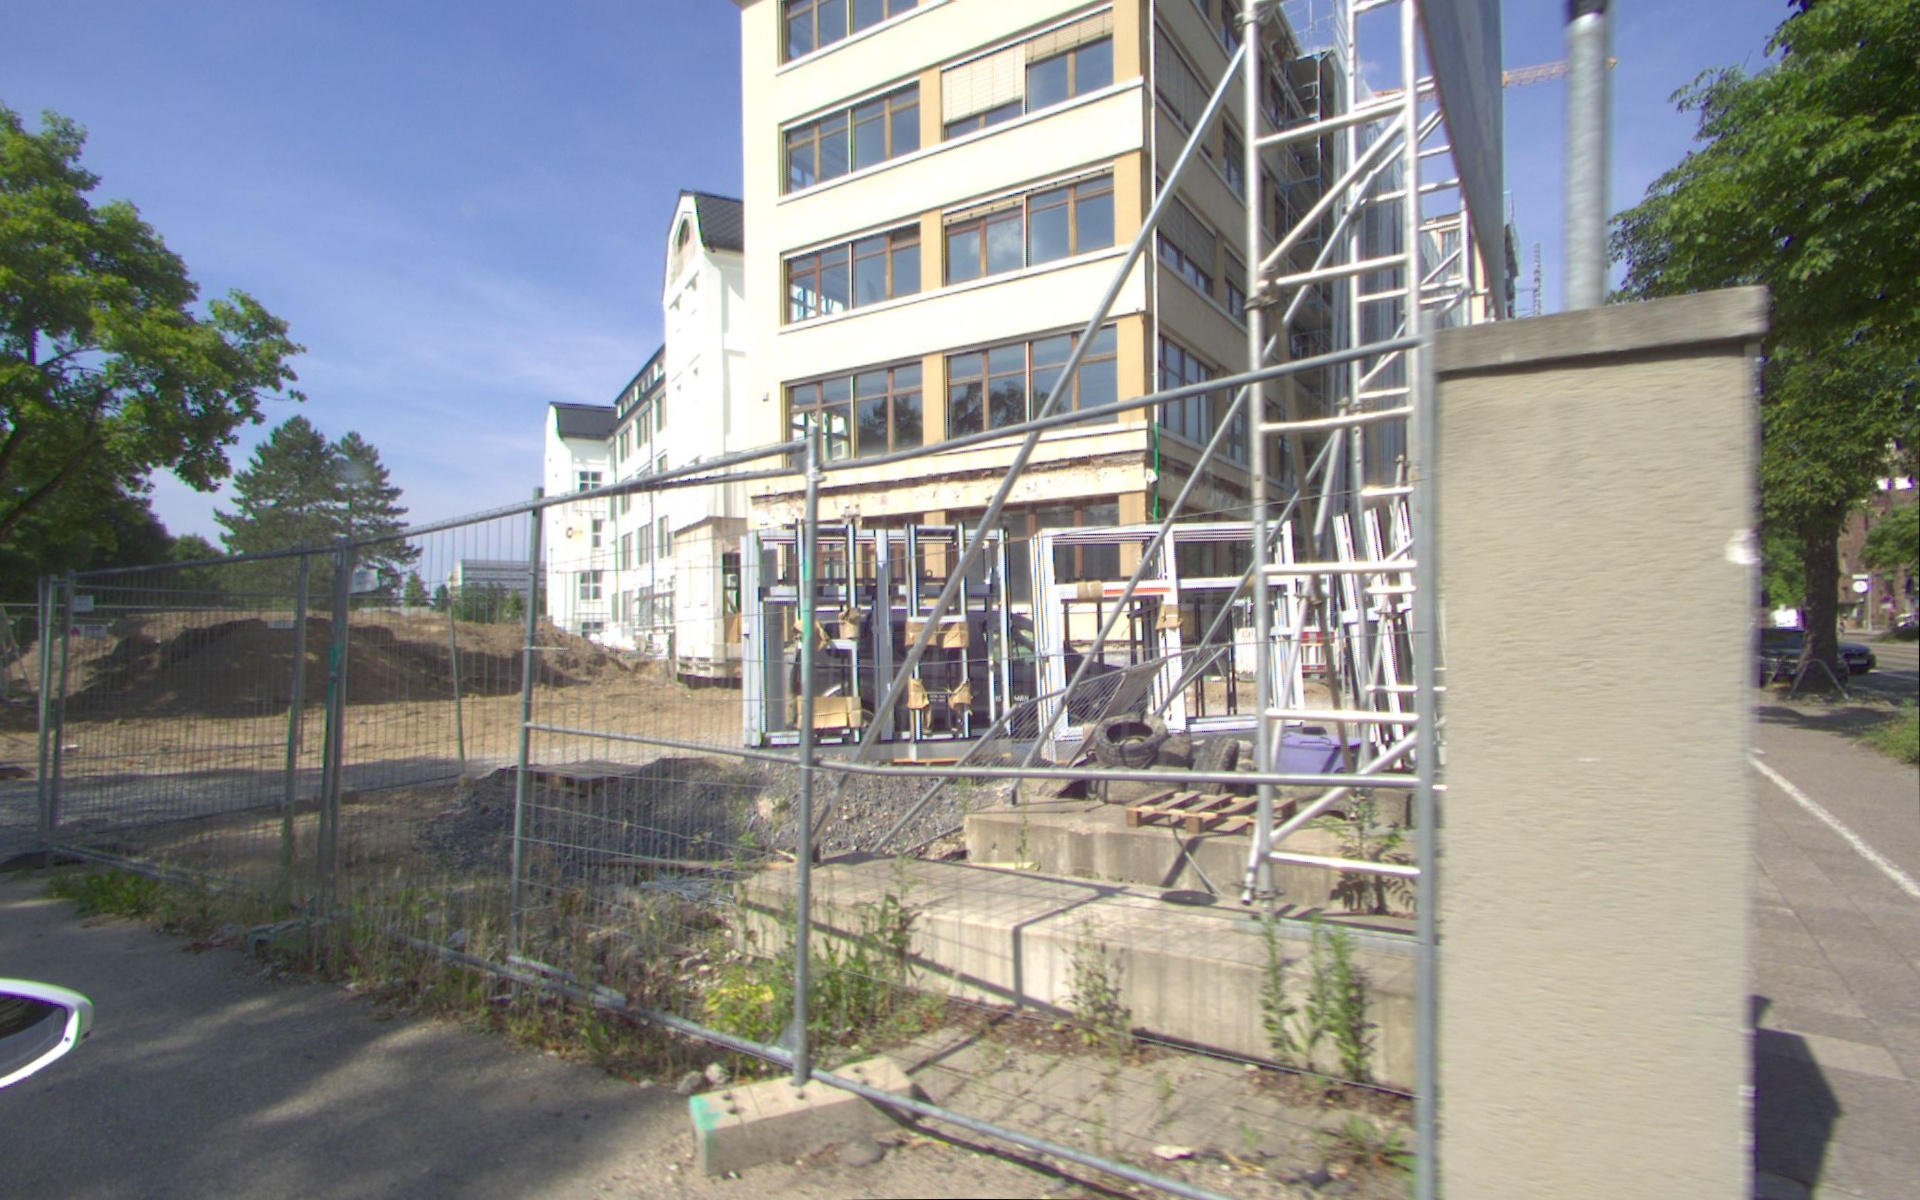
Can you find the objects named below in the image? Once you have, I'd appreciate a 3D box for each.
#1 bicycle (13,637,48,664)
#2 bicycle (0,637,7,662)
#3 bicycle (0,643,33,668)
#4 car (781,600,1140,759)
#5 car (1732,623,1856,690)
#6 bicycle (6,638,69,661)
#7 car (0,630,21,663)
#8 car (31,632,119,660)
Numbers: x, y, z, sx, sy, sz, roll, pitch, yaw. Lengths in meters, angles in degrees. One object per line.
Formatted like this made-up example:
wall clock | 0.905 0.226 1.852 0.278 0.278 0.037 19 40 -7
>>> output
bicycle | -47.174 2.529 50.828 0.706 1.300 2.671 0 -2 -30
bicycle | -48.663 2.494 50.131 0.706 1.300 2.777 0 -2 -30
bicycle | -51.084 2.977 54.151 0.807 1.300 2.671 0 -2 -30
car | -0.072 0.960 12.706 4.230 1.802 1.922 0 -2 -8
car | 20.622 1.337 24.929 1.973 1.498 4.330 -1 -1 35
bicycle | -54.389 2.906 59.062 2.651 1.301 0.813 1 -1 -36
car | -46.425 2.153 46.165 4.241 1.544 1.882 1 -1 -32
car | -57.724 2.981 65.375 3.940 1.795 1.760 1 -1 -27
